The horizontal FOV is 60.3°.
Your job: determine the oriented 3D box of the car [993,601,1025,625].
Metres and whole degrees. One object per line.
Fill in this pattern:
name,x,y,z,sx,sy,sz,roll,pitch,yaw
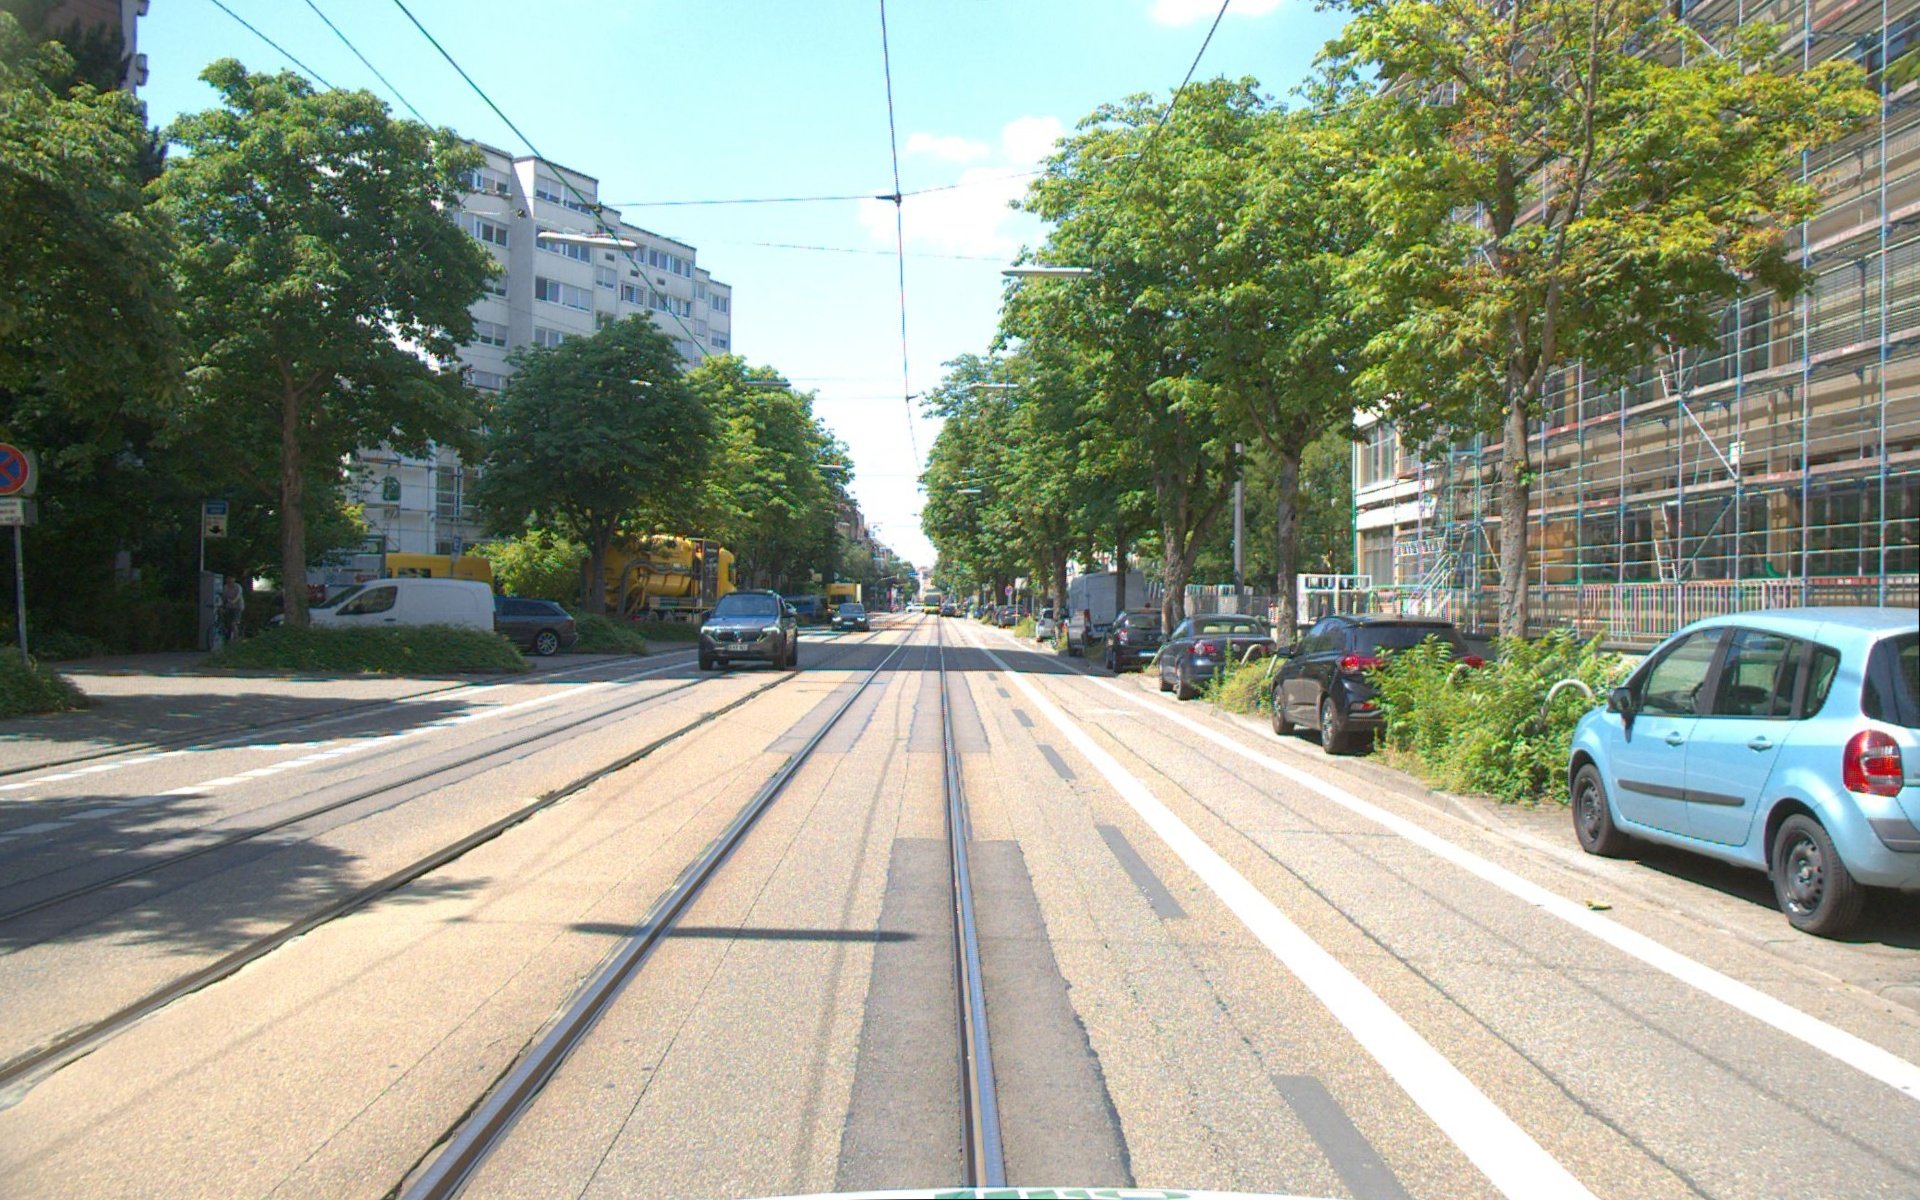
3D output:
car,3.083,0.827,104.313,1.606,1.511,3.870,0,-1,-4

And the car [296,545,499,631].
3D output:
car,-18.711,-0.331,55.476,2.137,2.611,6.712,1,-1,29

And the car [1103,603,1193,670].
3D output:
car,4.525,0.849,40.336,1.786,1.497,4.401,0,0,2

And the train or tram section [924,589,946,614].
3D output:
train or tram section,-3.602,0.177,239.593,2.973,3.499,11.969,0,0,0

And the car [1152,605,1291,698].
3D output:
car,4.574,0.854,29.508,1.787,1.497,4.486,0,0,0

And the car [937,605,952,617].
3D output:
car,-1.795,1.248,190.592,1.745,1.369,3.415,0,0,-1

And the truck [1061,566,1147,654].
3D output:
truck,4.358,0.286,50.996,1.973,2.532,5.954,0,0,-1

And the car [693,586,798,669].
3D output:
car,-4.643,0.570,36.267,1.793,1.710,4.184,0,0,-1

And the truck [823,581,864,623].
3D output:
truck,-8.382,0.115,119.994,2.312,2.902,7.378,-1,0,1

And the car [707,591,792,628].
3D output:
car,-11.856,0.514,93.379,1.887,1.968,4.729,-2,-1,41

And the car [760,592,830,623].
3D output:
car,-11.887,0.543,119.513,4.718,2.098,1.997,-1,0,-40

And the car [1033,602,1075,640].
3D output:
car,3.992,0.880,70.585,1.610,1.561,3.785,0,0,1

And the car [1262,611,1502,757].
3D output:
car,4.723,0.881,19.082,1.637,1.463,4.040,0,0,-2

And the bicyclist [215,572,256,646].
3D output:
bicyclist,-14.922,0.180,34.080,0.471,1.507,0.780,2,0,-3

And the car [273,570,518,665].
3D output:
car,-11.688,0.381,34.352,4.492,1.822,1.879,2,0,-34

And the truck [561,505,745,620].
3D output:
truck,-11.565,-1.277,63.774,2.657,3.909,10.972,2,-1,13

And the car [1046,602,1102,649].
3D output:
car,3.978,0.877,58.288,1.611,1.561,3.946,0,0,-1

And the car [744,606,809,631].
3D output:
car,-11.828,1.180,106.757,1.730,1.458,3.978,-3,-1,41

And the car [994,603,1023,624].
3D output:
car,3.403,0.960,116.877,1.838,1.480,4.527,0,-1,0

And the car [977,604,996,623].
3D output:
car,2.323,1.181,145.413,1.560,1.645,3.906,0,-1,-1

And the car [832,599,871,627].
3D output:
car,-5.508,0.643,84.160,1.738,1.422,4.286,0,0,-1

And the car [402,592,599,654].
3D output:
car,-11.389,0.587,41.182,4.405,1.419,1.747,2,0,-40

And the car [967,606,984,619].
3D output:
car,1.719,1.401,183.001,1.676,1.448,4.308,0,-1,-1

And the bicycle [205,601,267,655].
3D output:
bicycle,-14.942,0.569,34.192,0.507,1.065,1.875,2,0,-3

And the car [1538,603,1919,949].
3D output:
car,4.964,0.804,9.616,1.637,1.544,4.200,0,0,-2
